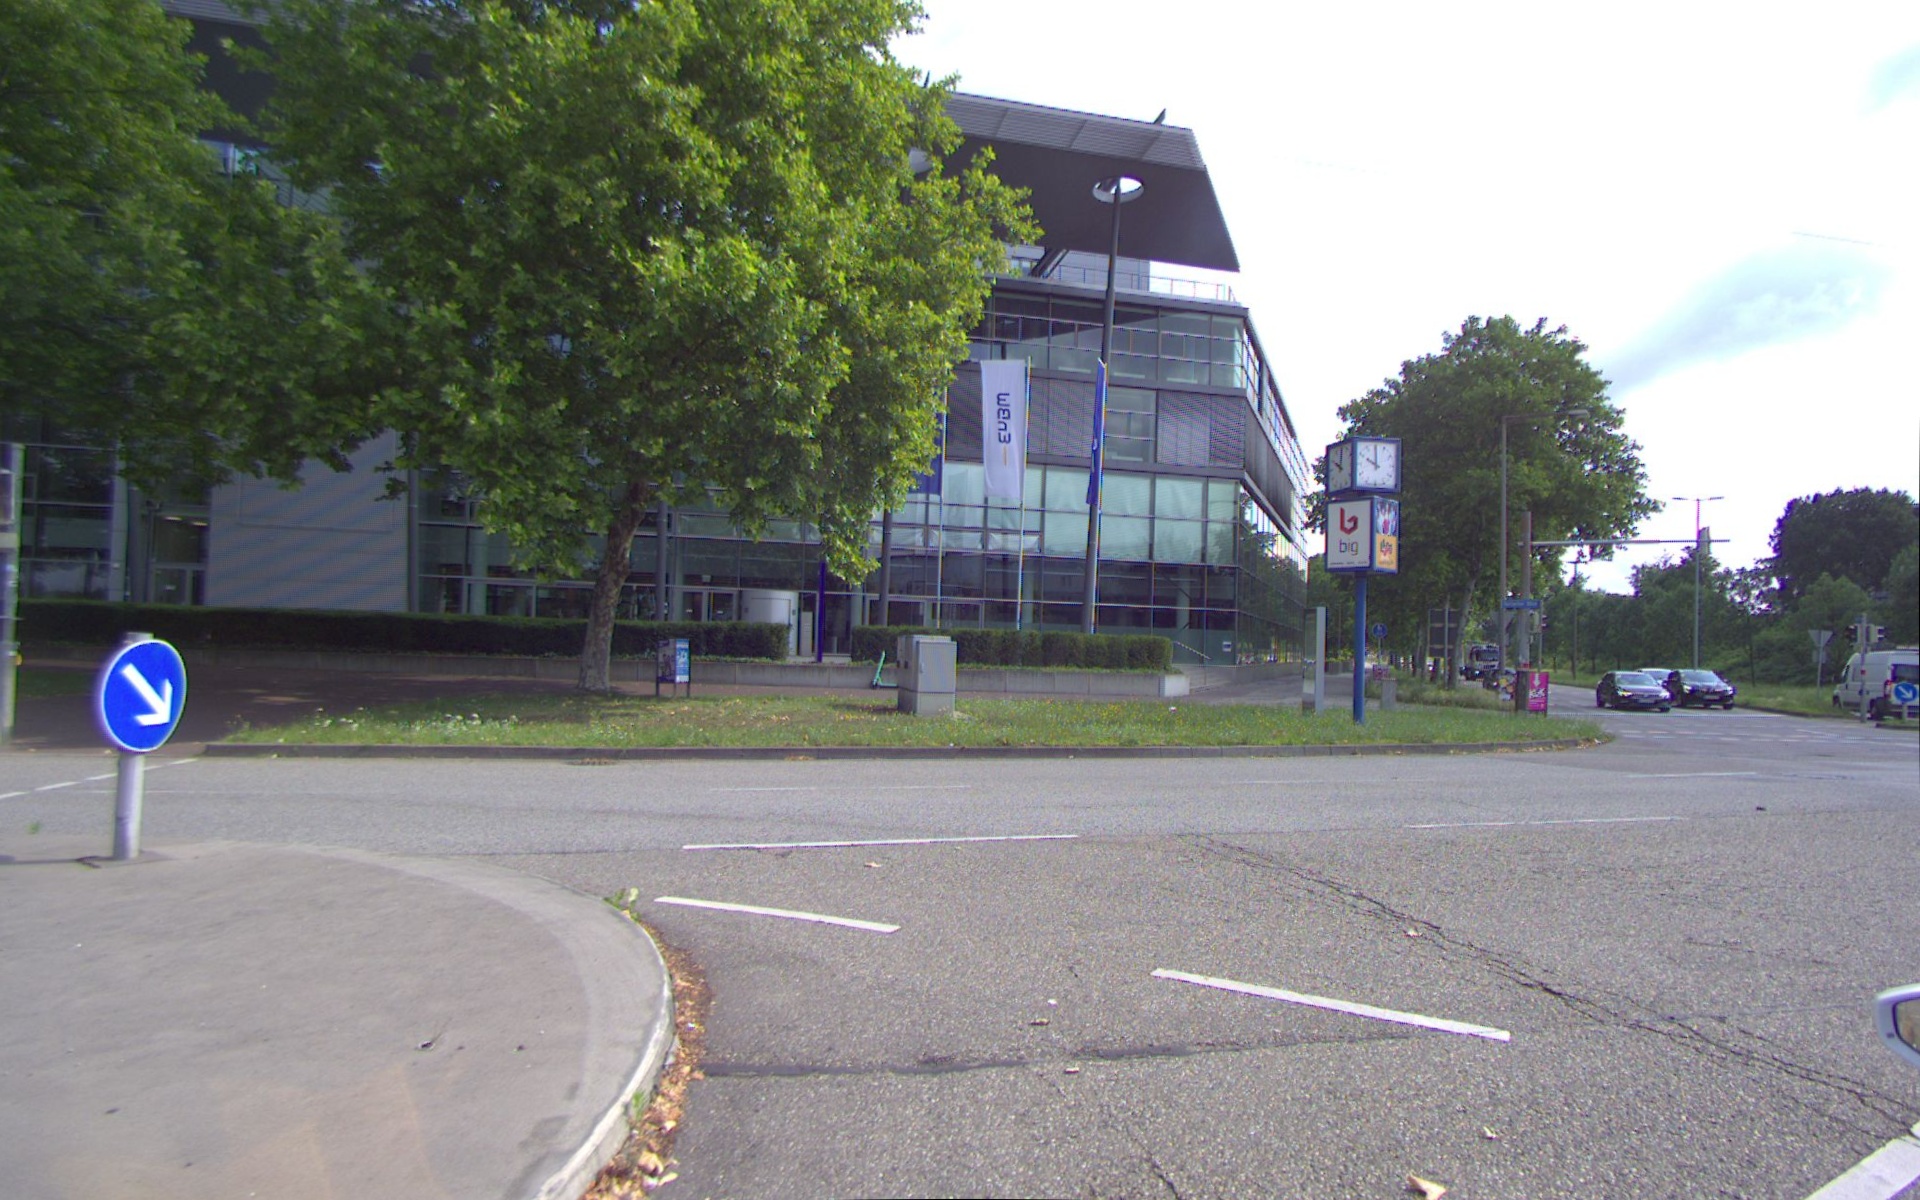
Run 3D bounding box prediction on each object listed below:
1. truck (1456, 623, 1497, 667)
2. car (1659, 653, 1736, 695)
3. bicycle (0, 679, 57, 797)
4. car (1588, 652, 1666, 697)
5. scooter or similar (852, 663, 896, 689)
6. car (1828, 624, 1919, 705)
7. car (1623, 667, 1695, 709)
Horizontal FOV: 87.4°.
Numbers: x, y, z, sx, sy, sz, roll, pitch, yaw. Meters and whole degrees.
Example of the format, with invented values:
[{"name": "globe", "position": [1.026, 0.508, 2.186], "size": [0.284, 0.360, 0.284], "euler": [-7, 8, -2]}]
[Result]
[{"name": "truck", "position": [50.851, 4.332, 99.034], "size": [2.607, 3.940, 10.156], "euler": [0, 0, 22]}, {"name": "car", "position": [30.851, 3.083, 42.155], "size": [1.680, 1.608, 4.360], "euler": [0, -3, 24]}, {"name": "bicycle", "position": [-9.615, 1.340, 9.433], "size": [0.873, 1.100, 2.173], "euler": [1, -2, -19]}, {"name": "car", "position": [26.281, 2.889, 39.720], "size": [1.835, 1.594, 4.566], "euler": [0, -2, 24]}, {"name": "scooter or similar", "position": [-2.387, 2.114, 27.878], "size": [1.208, 0.722, 0.240], "euler": [1, -1, -8]}, {"name": "car", "position": [34.000, 2.327, 36.729], "size": [2.163, 2.762, 4.928], "euler": [0, -2, 25]}, {"name": "car", "position": [33.534, 4.187, 48.298], "size": [1.961, 1.750, 3.999], "euler": [0, -1, 22]}]
